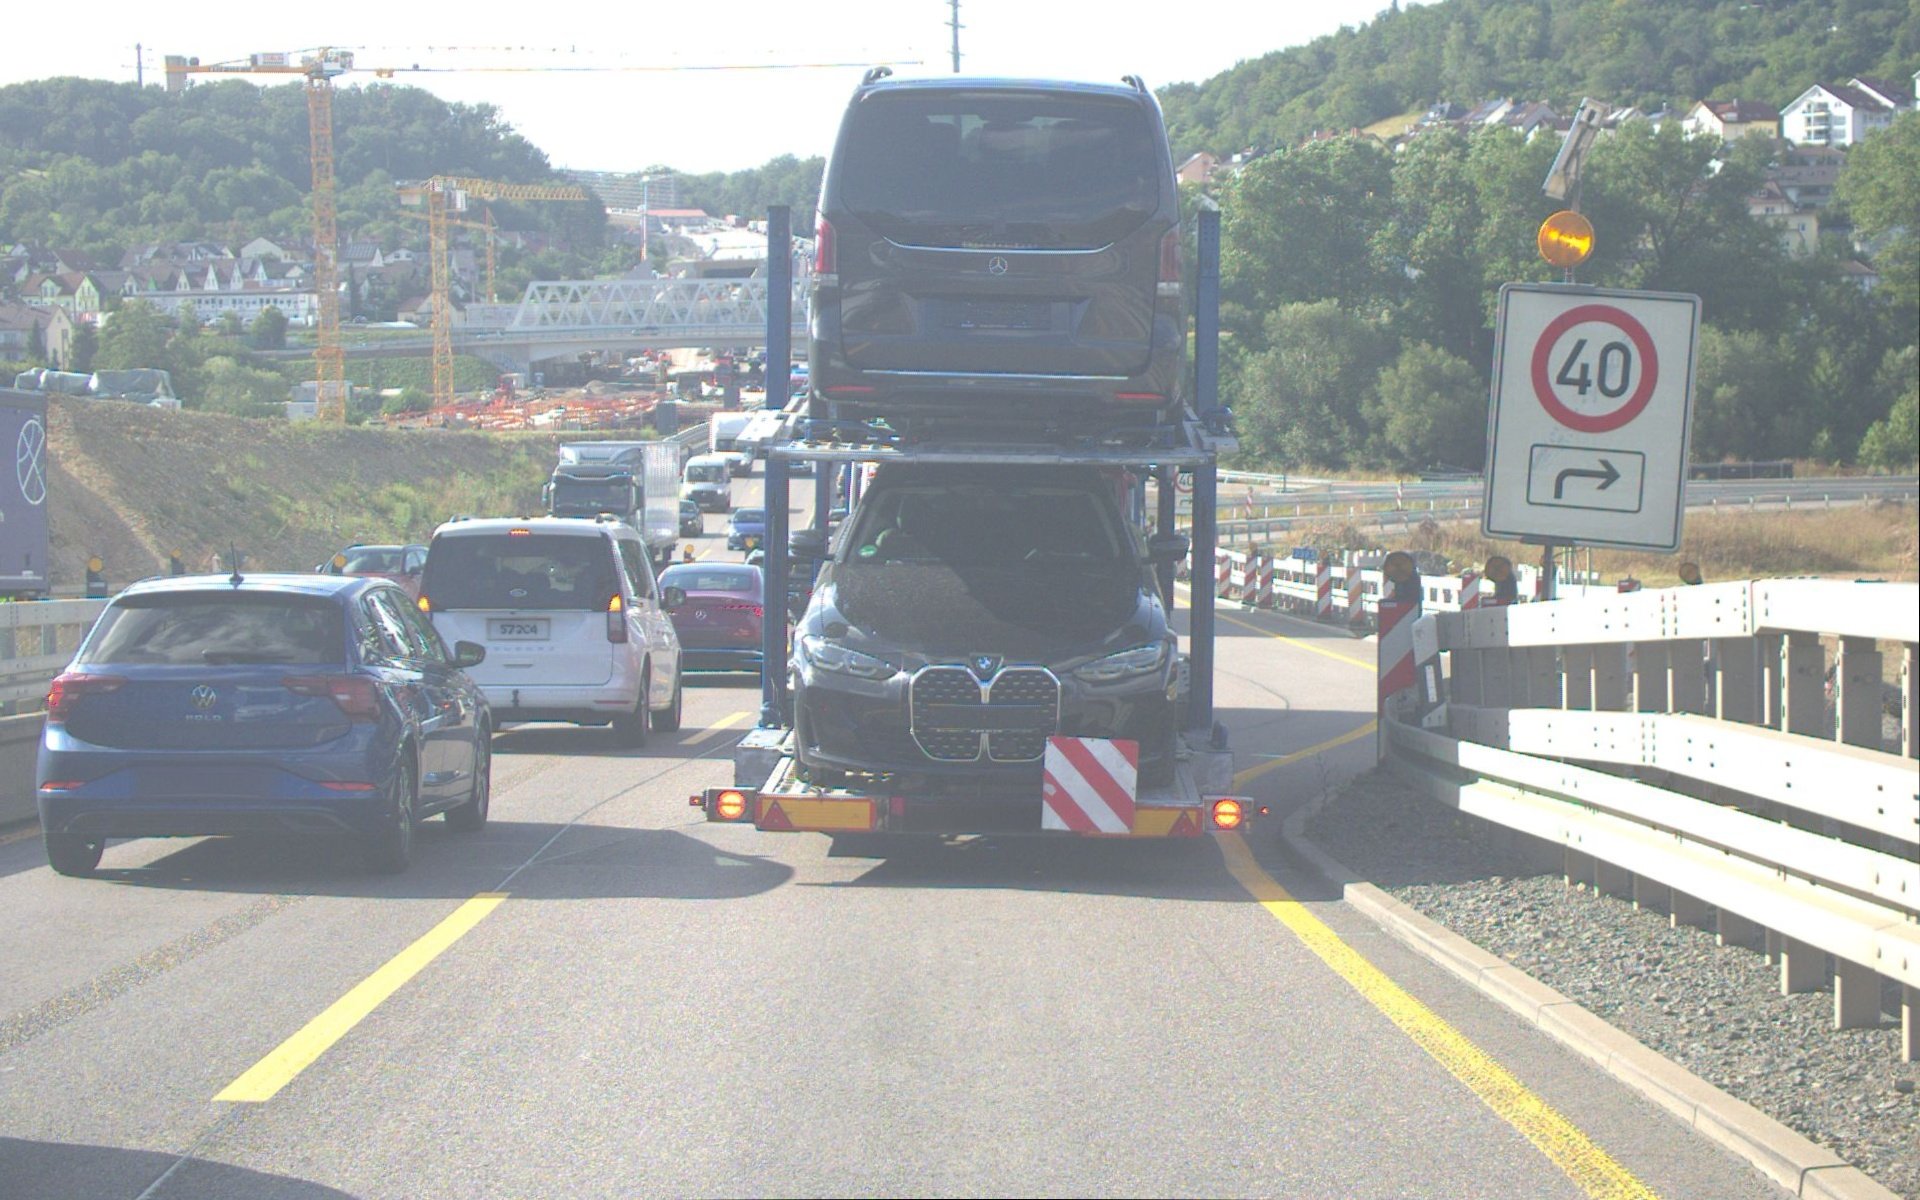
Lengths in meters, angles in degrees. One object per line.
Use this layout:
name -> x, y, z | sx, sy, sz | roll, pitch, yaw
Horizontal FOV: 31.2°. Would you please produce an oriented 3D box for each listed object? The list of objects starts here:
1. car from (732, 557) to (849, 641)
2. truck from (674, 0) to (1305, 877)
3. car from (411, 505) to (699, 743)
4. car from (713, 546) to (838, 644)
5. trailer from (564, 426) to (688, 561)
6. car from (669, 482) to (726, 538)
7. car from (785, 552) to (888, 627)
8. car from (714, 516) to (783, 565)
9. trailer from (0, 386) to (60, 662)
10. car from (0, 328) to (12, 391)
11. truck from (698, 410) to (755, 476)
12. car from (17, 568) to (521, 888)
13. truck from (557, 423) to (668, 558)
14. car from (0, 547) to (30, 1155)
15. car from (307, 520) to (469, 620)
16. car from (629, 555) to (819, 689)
car -> -3.248, -0.027, 66.504 | 1.993, 1.547, 4.000 | 1, 0, 1
truck -> -0.077, -0.780, 25.060 | 2.753, 3.941, 18.890 | 2, 0, -1
car -> -3.233, 0.177, 28.148 | 1.823, 1.786, 4.000 | 1, 0, 1
car -> -3.044, -0.086, 57.190 | 1.993, 1.547, 4.000 | 1, 0, -2
trailer -> -10.393, -3.227, 108.305 | 2.820, 3.828, 13.804 | 1, 0, -1
car -> -12.035, -4.118, 157.922 | 2.258, 2.394, 5.867 | 1, 0, -1
car -> -2.606, -0.223, 73.502 | 1.993, 1.547, 4.000 | 1, 0, 1
car -> -7.739, -2.163, 126.330 | 1.994, 1.721, 4.122 | 1, 0, 4
trailer -> -16.383, -1.159, 47.157 | 2.688, 4.142, 13.807 | 1, 0, 8
car -> -34.649, -8.421, 119.311 | 1.993, 2.133, 5.322 | -4, 0, -1
truck -> -12.900, -8.637, 190.308 | 2.700, 3.300, 7.537 | 1, 0, 0
car -> -3.401, 0.582, 17.641 | 1.722, 1.417, 4.000 | 1, 0, 1
truck -> -10.268, -3.185, 101.976 | 2.776, 3.775, 6.018 | 1, 0, -1
car -> -3.253, 0.619, 6.427 | 1.770, 1.486, 4.516 | -1, 0, 0
car -> -10.462, -0.541, 63.169 | 1.924, 1.761, 4.326 | 1, 0, 5
car -> -2.867, 0.251, 42.652 | 1.993, 1.551, 4.401 | 1, 0, 1
